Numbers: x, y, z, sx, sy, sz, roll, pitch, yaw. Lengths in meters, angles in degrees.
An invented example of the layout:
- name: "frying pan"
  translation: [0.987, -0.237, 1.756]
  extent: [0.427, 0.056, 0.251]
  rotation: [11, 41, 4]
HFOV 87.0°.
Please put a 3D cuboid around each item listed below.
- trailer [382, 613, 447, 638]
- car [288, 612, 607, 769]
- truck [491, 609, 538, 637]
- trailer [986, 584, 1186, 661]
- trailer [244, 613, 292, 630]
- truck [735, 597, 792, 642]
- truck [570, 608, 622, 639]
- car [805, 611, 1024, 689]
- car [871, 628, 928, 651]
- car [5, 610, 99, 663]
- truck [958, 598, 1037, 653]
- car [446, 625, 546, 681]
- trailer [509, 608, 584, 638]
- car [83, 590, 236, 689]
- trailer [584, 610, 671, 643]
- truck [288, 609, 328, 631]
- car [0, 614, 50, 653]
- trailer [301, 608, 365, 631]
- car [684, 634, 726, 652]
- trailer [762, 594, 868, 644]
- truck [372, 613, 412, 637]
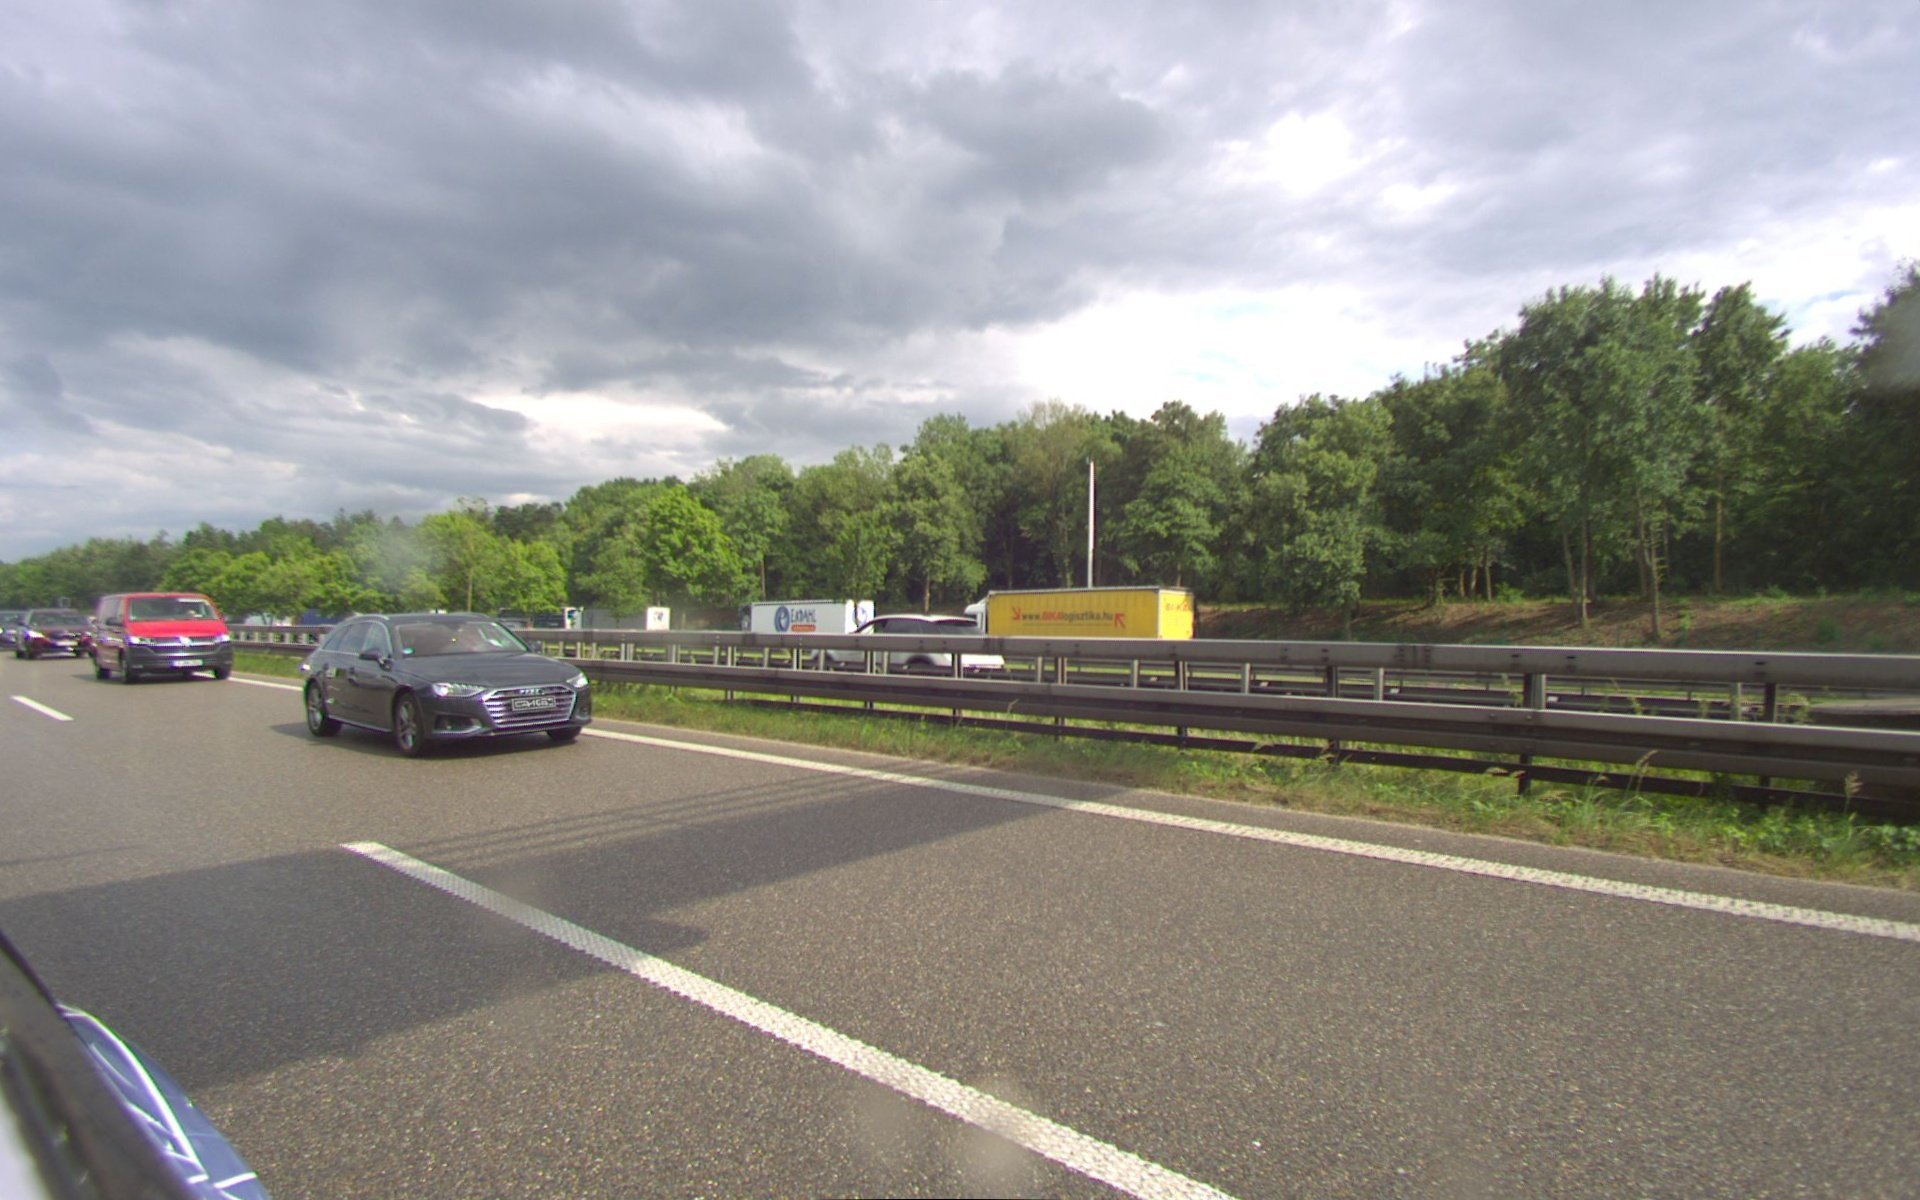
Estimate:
- name: "trailer"
  translation: [-74.320, 3.492, 137.823]
  extent: [12.634, 3.296, 3.153]
  rotation: [-1, -2, 39]
- name: "car"
  translation: [-5.926, 0.865, 11.434]
  extent: [4.466, 1.422, 1.701]
  rotation: [-1, -1, 42]
- name: "truck"
  translation: [-53.358, 2.755, 121.071]
  extent: [6.533, 3.275, 2.548]
  rotation: [-1, -2, 41]
- name: "trailer"
  translation: [6.356, 1.120, 55.050]
  extent: [1.967, 3.722, 13.690]
  rotation: [0, 0, -36]
- name: "trailer"
  translation: [-111.837, 3.473, 163.510]
  extent: [9.841, 2.594, 2.511]
  rotation: [0, -1, 30]
- name: "truck"
  translation: [-16.384, 1.643, 84.095]
  extent: [2.136, 3.648, 5.586]
  rotation: [2, -2, -41]
- name: "truck"
  translation: [-38.902, 2.559, 108.049]
  extent: [5.597, 3.208, 3.009]
  rotation: [-1, -2, 43]
- name: "car"
  translation: [-0.933, 0.895, 19.120]
  extent: [3.998, 1.306, 1.825]
  rotation: [-1, -2, 41]
- name: "car"
  translation: [-4.196, 2.689, 69.610]
  extent: [1.871, 1.514, 4.006]
  rotation: [2, -2, -41]
- name: "car"
  translation: [-30.688, 1.195, 34.182]
  extent: [4.293, 1.682, 1.870]
  rotation: [-1, -1, 41]
- name: "truck"
  translation: [2.194, 1.453, 60.648]
  extent: [1.950, 3.121, 5.088]
  rotation: [-1, 0, -36]
- name: "car"
  translation: [-18.008, 1.994, 39.206]
  extent: [4.394, 1.980, 1.972]
  rotation: [-1, -1, 42]
- name: "trailer"
  translation: [-47.405, 2.667, 115.828]
  extent: [12.643, 3.296, 2.577]
  rotation: [-1, -2, 41]
- name: "car"
  translation: [-17.941, 0.821, 22.604]
  extent: [4.748, 2.000, 1.870]
  rotation: [-1, -1, 41]
- name: "trailer"
  translation: [-33.968, 2.677, 103.071]
  extent: [12.175, 3.217, 2.986]
  rotation: [-1, -2, 44]
- name: "truck"
  translation: [-101.307, 3.128, 157.157]
  extent: [6.083, 3.280, 3.046]
  rotation: [0, -2, 35]
- name: "car"
  translation: [-40.114, 1.406, 42.872]
  extent: [4.052, 1.578, 1.870]
  rotation: [-1, -1, 41]
- name: "trailer"
  translation: [-94.562, 2.893, 152.444]
  extent: [13.378, 3.296, 3.050]
  rotation: [-1, -2, 35]
- name: "car"
  translation: [-23.205, 3.893, 92.002]
  extent: [1.873, 1.514, 4.003]
  rotation: [2, -2, -44]
- name: "trailer"
  translation: [-11.404, 1.507, 78.378]
  extent: [2.155, 3.627, 11.736]
  rotation: [2, -2, -41]
- name: "truck"
  translation: [-79.925, 3.547, 142.401]
  extent: [5.386, 3.280, 3.142]
  rotation: [-1, -3, 39]
